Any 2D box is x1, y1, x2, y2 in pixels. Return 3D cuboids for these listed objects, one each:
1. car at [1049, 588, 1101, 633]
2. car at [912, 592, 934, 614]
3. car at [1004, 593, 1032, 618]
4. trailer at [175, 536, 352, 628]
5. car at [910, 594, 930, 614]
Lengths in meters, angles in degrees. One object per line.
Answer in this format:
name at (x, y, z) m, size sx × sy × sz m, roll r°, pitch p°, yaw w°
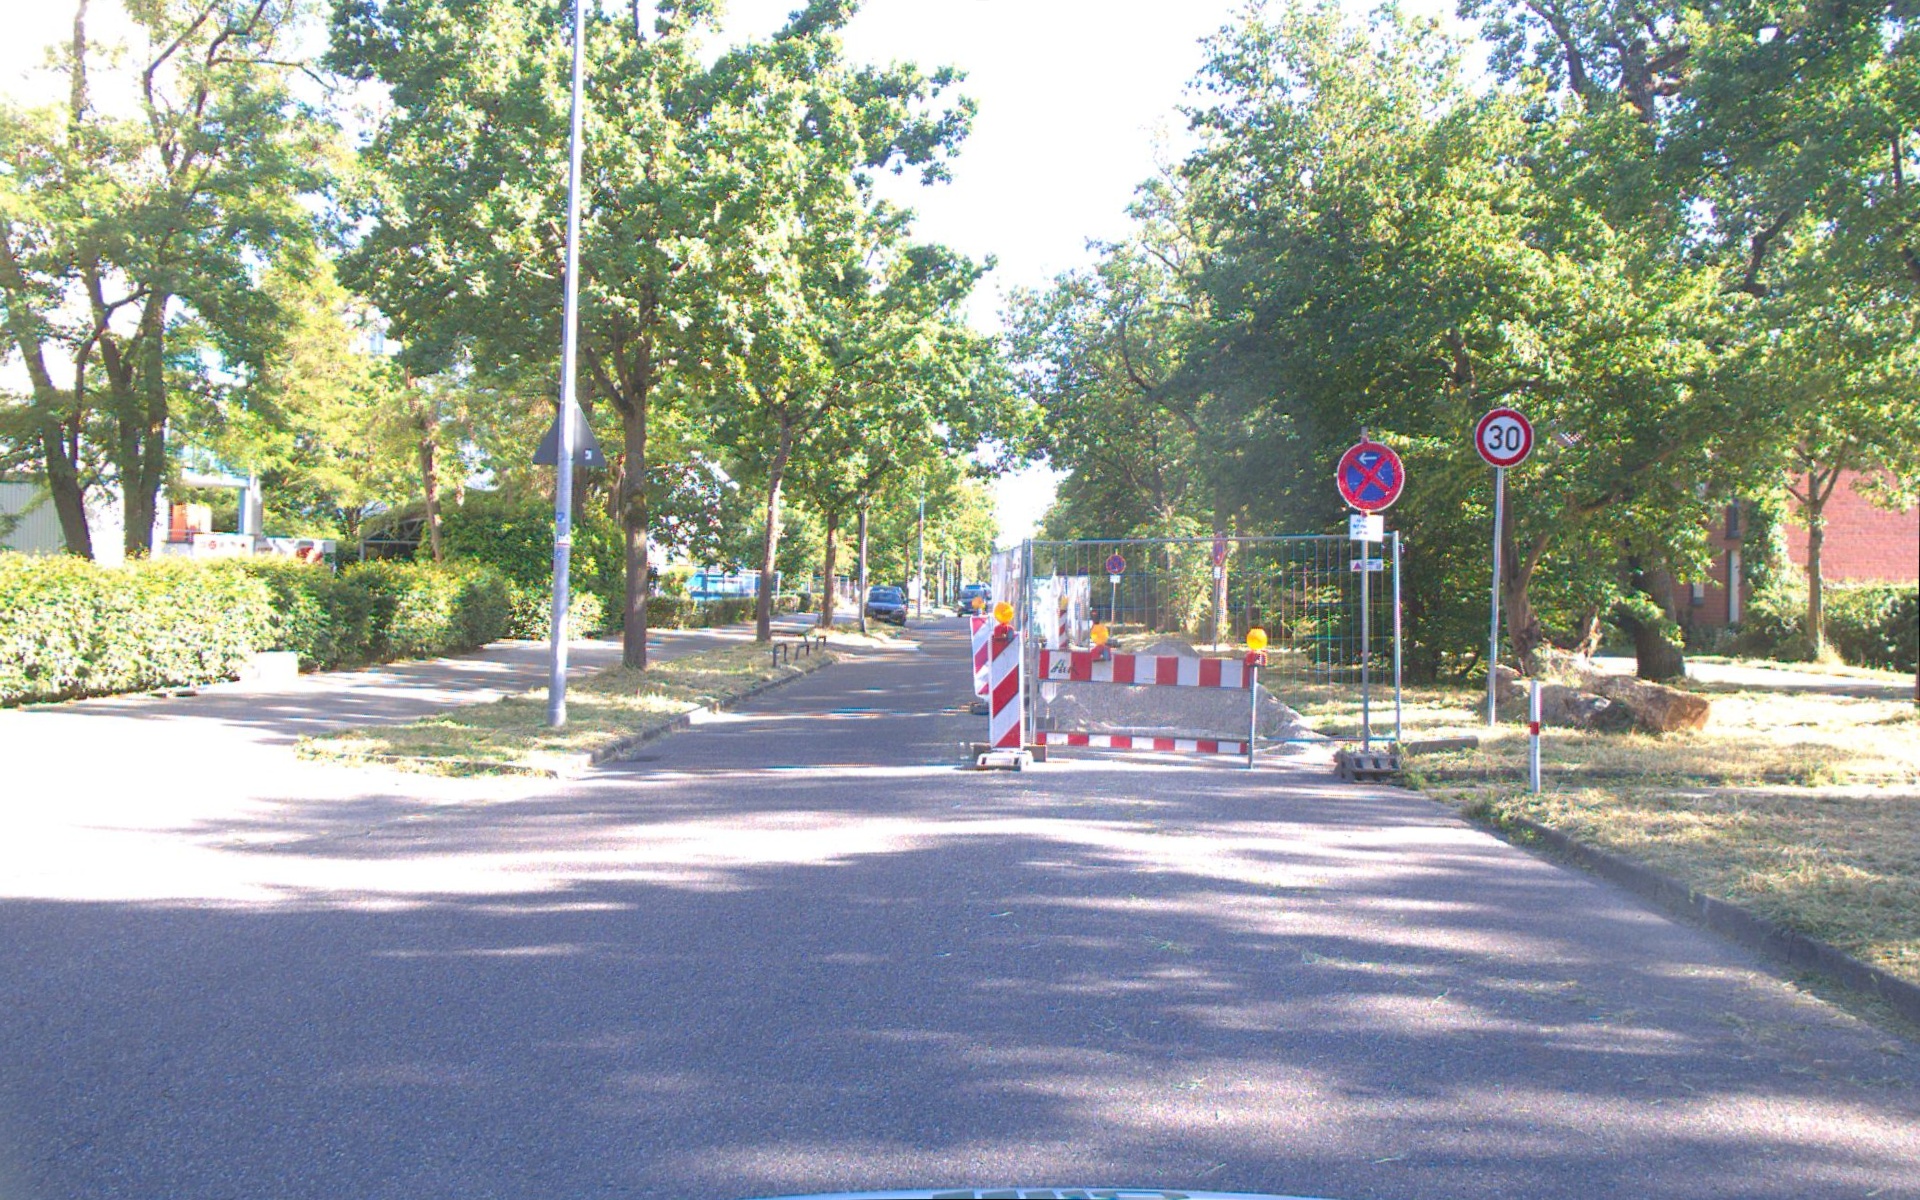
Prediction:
car at (4.411, 0.391, 63.739) m, size 1.717 × 1.623 × 3.657 m, roll 1°, pitch 0°, yaw 0°
car at (-2.335, 0.199, 104.760) m, size 1.334 × 1.325 × 3.480 m, roll 2°, pitch -1°, yaw -1°
car at (3.202, 0.316, 92.080) m, size 1.334 × 1.325 × 3.480 m, roll 2°, pitch -1°, yaw -1°
trailer at (-16.934, -0.430, 40.472) m, size 1.934 × 2.078 × 4.433 m, roll 1°, pitch 0°, yaw 8°
car at (-2.831, 0.277, 116.505) m, size 1.334 × 1.325 × 3.480 m, roll 2°, pitch -1°, yaw -1°
